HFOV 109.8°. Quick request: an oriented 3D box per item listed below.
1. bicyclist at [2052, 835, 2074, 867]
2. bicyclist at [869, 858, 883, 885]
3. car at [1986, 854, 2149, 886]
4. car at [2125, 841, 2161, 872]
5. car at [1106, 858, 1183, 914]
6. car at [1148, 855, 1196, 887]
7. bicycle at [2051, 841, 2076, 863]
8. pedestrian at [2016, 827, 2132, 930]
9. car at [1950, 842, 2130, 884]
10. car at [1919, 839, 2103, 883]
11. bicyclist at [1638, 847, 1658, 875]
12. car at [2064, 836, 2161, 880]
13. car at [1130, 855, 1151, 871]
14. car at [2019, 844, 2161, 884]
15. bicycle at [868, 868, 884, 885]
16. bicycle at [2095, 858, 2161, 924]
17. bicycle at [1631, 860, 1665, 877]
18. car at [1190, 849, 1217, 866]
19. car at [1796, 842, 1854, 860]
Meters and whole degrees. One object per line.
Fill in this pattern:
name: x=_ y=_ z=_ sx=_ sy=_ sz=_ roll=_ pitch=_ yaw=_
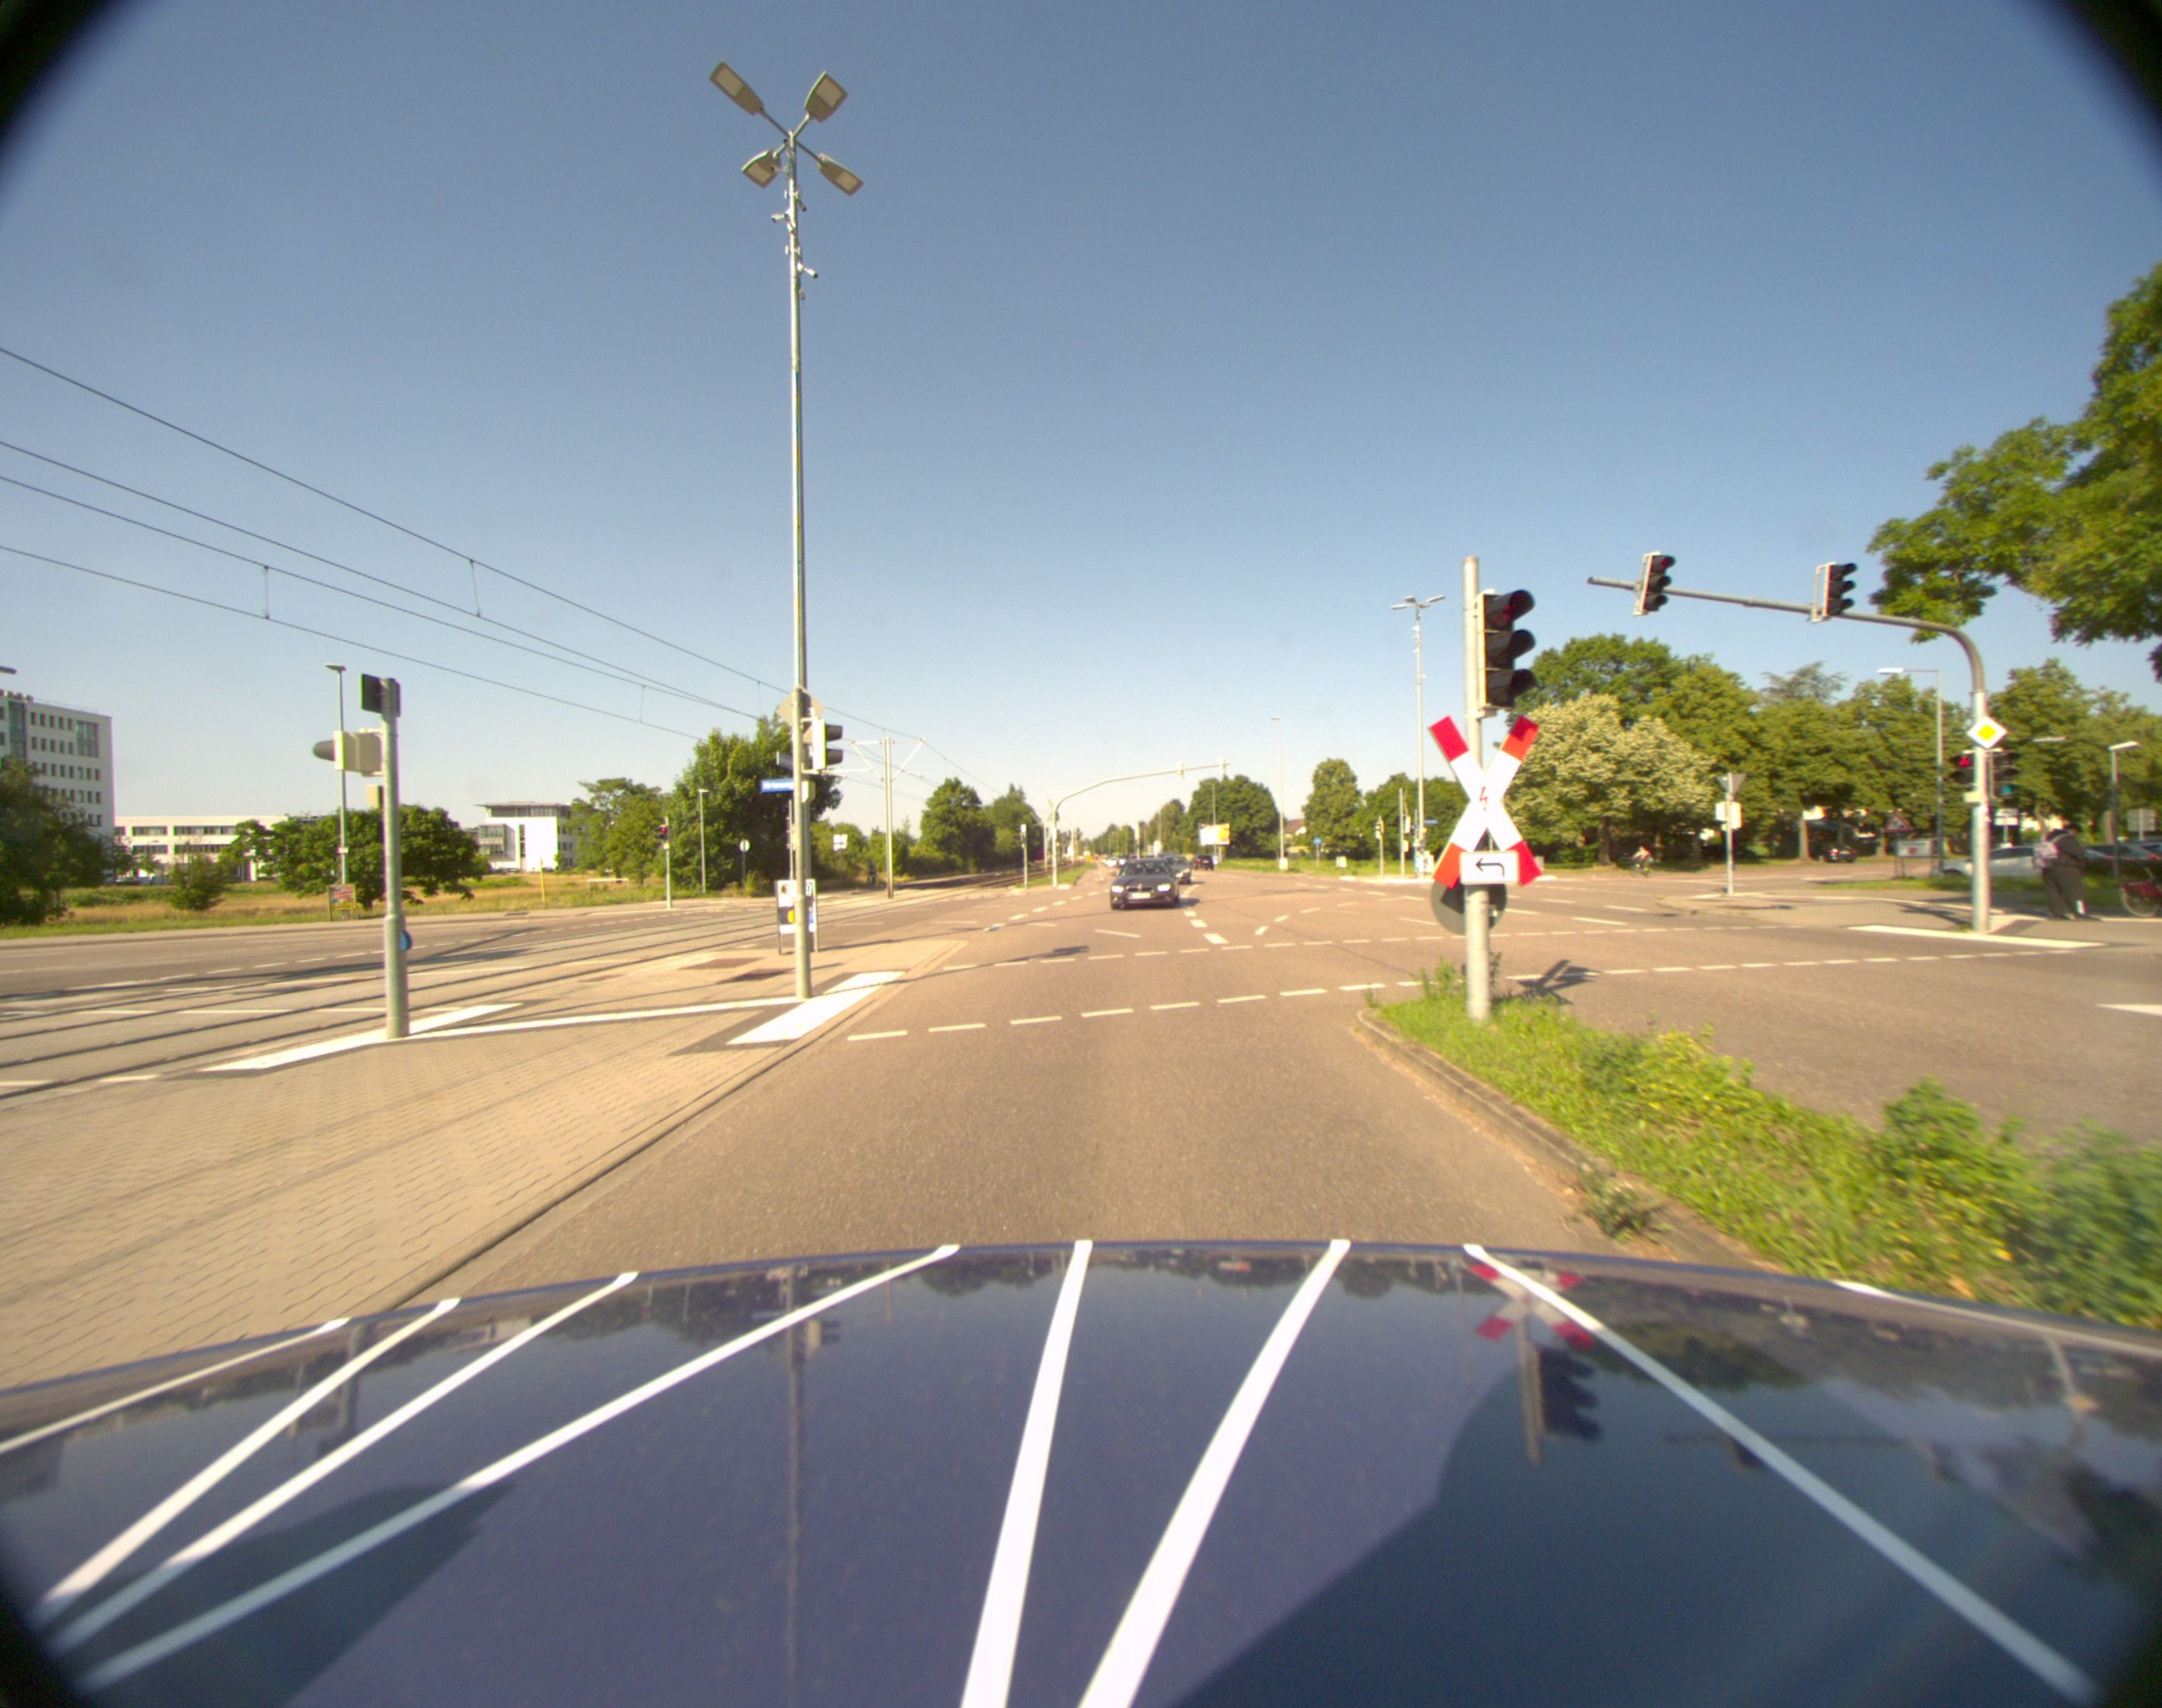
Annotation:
bicyclist: x=47.788 y=-0.130 z=36.972 sx=0.604 sy=1.551 sz=0.607 roll=-2 pitch=1 yaw=-41
bicyclist: x=-13.788 y=1.174 z=51.105 sx=0.708 sy=1.797 sz=0.717 roll=-1 pitch=1 yaw=1
car: x=39.987 y=0.631 z=30.942 sx=1.466 sy=1.186 sz=3.781 roll=-1 pitch=0 yaw=-17
car: x=53.224 y=-0.013 z=35.574 sx=1.787 sy=1.467 sz=4.709 roll=-1 pitch=-3 yaw=-20
car: x=1.986 y=0.875 z=22.521 sx=1.819 sy=1.416 sz=4.465 roll=-1 pitch=0 yaw=10
car: x=4.508 y=0.813 z=38.301 sx=1.821 sy=1.481 sz=4.610 roll=-1 pitch=0 yaw=0
bicycle: x=47.766 y=-0.099 z=36.953 sx=2.076 sy=1.034 sz=0.620 roll=-2 pitch=1 yaw=-42
pedestrian: x=17.630 y=0.425 z=13.518 sx=0.817 sy=1.741 sz=0.932 roll=-2 pitch=0 yaw=6
car: x=38.043 y=0.409 z=30.295 sx=1.786 sy=1.406 sz=3.997 roll=-2 pitch=-3 yaw=-16
car: x=35.118 y=0.321 z=28.858 sx=1.786 sy=1.430 sz=3.996 roll=-1 pitch=-3 yaw=-17
bicyclist: x=31.171 y=0.410 z=41.739 sx=0.628 sy=1.514 sz=0.617 roll=-2 pitch=0 yaw=-25
car: x=45.344 y=0.164 z=32.279 sx=1.786 sy=1.800 sz=3.994 roll=-1 pitch=0 yaw=-18
car: x=6.110 y=0.921 z=78.081 sx=1.807 sy=1.497 sz=4.197 roll=-1 pitch=0 yaw=0
car: x=42.614 y=0.392 z=31.716 sx=1.786 sy=1.512 sz=3.994 roll=-1 pitch=0 yaw=-18
bicycle: x=-13.779 y=1.512 z=51.098 sx=0.547 sy=1.041 sz=1.874 roll=-1 pitch=0 yaw=2
bicycle: x=19.205 y=0.629 z=13.358 sx=1.914 sy=1.112 sz=0.632 roll=-1 pitch=1 yaw=0
bicycle: x=31.141 y=0.798 z=41.725 sx=1.811 sy=0.898 sz=0.653 roll=-2 pitch=0 yaw=-22
car: x=12.194 y=0.315 z=75.765 sx=1.994 sy=1.649 sz=4.385 roll=-1 pitch=0 yaw=1
car: x=58.011 y=-0.256 z=59.354 sx=1.522 sy=1.313 sz=4.777 roll=-1 pitch=0 yaw=22
